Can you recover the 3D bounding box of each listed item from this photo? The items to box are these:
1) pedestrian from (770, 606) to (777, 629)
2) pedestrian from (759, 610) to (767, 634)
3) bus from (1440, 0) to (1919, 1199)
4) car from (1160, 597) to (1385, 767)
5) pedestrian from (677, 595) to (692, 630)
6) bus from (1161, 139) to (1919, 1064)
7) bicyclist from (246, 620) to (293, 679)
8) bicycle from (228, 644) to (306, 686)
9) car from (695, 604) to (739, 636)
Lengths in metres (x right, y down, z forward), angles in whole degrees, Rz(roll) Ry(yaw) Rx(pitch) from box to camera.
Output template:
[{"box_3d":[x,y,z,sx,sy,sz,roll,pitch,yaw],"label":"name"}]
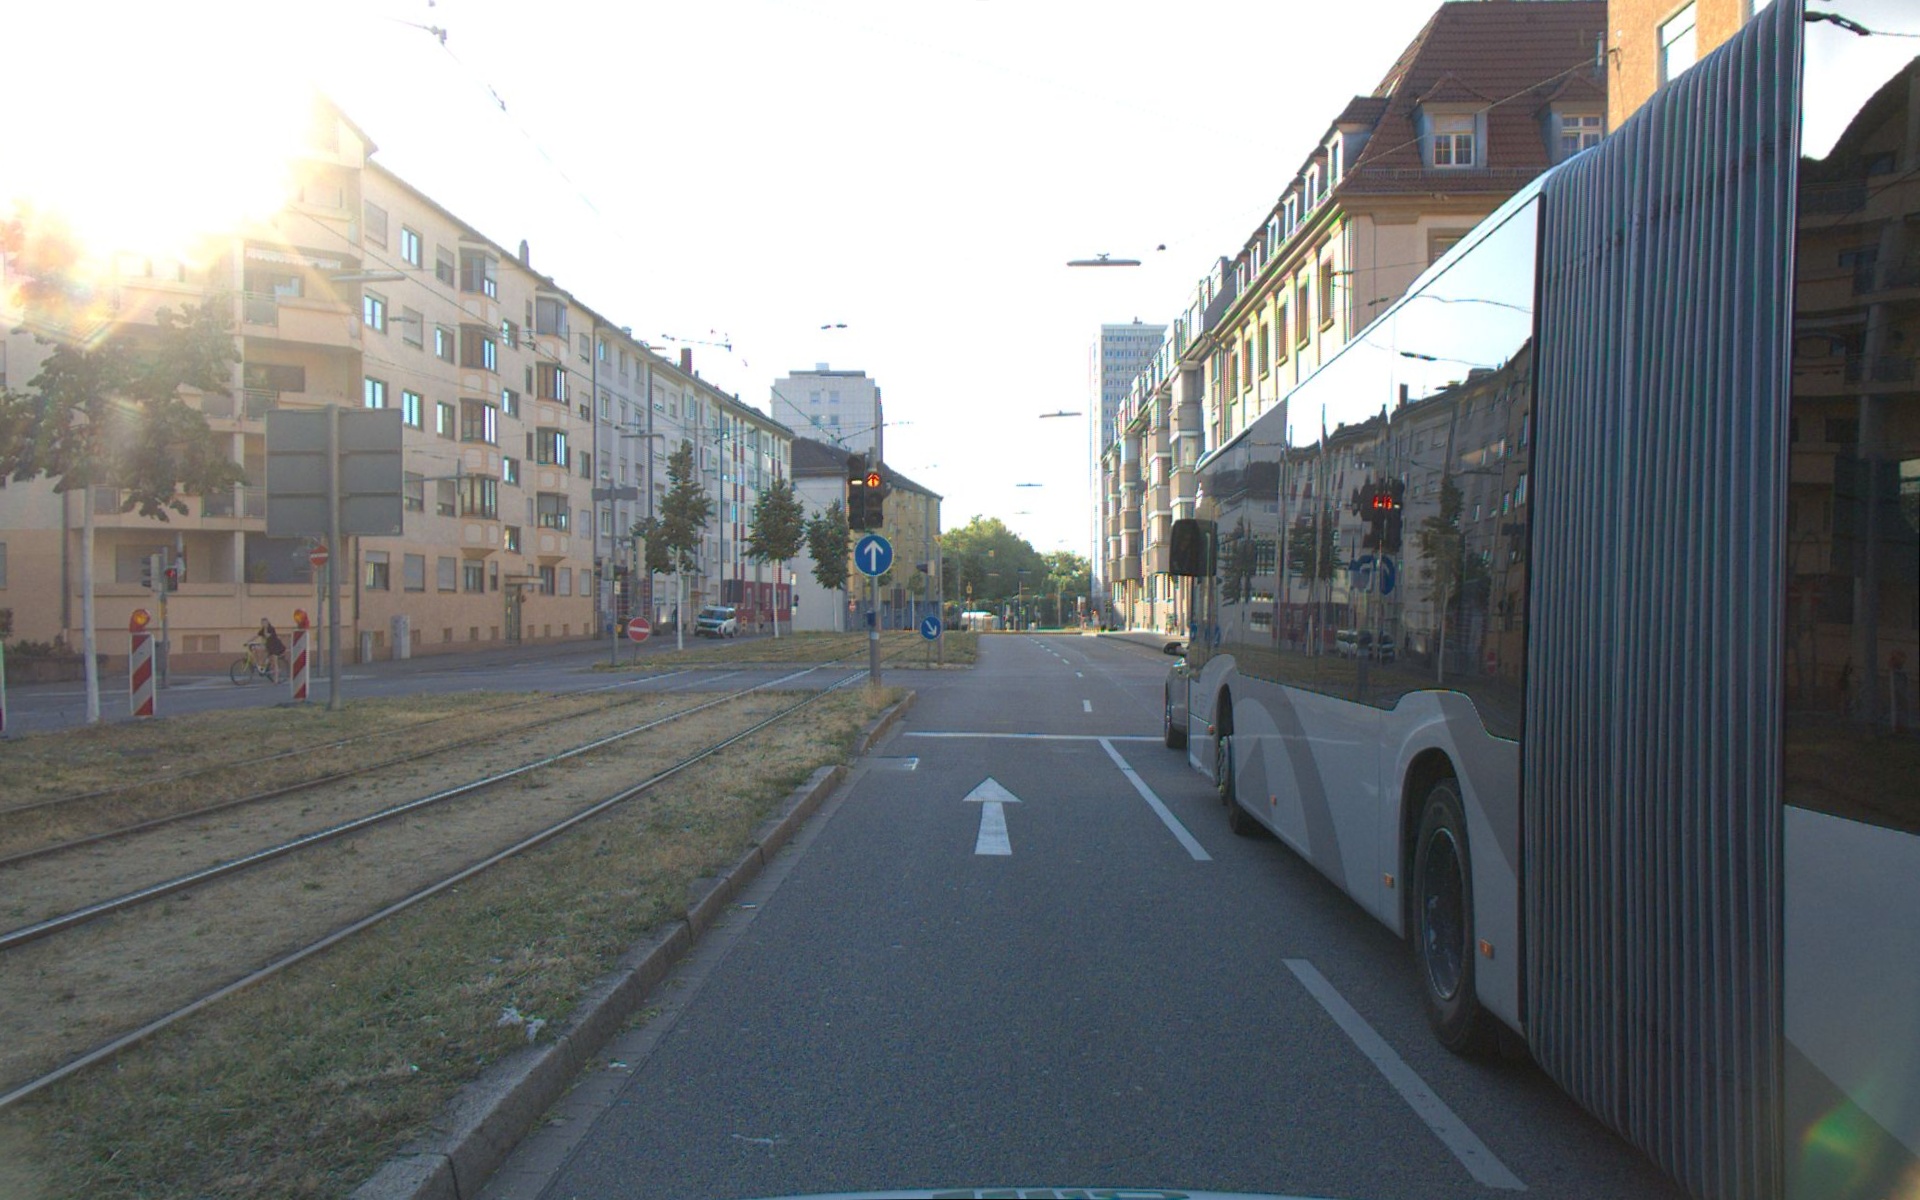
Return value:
[{"box_3d":[-13.585,1.251,120.529,0.485,1.687,0.408,-1,-1,1],"label":"pedestrian"},{"box_3d":[-14.307,1.590,120.283,0.485,1.687,0.408,-1,-1,1],"label":"pedestrian"},{"box_3d":[2.891,-0.022,1.150,2.682,3.109,8.854,1,0,1],"label":"bus"},{"box_3d":[3.254,0.803,17.968,1.733,1.603,4.086,-1,0,1],"label":"car"},{"box_3d":[-16.371,0.763,98.384,0.771,2.049,0.890,-1,-1,-2],"label":"pedestrian"},{"box_3d":[3.060,0.032,10.157,2.682,3.109,9.132,1,0,1],"label":"bus"},{"box_3d":[-17.586,1.244,42.117,0.518,1.472,0.963,-1,-1,31],"label":"bicyclist"},{"box_3d":[-17.615,1.639,42.058,0.518,1.001,1.879,-1,-1,31],"label":"bicycle"},{"box_3d":[-14.453,1.228,98.672,1.774,1.829,4.246,1,-1,3],"label":"car"}]
